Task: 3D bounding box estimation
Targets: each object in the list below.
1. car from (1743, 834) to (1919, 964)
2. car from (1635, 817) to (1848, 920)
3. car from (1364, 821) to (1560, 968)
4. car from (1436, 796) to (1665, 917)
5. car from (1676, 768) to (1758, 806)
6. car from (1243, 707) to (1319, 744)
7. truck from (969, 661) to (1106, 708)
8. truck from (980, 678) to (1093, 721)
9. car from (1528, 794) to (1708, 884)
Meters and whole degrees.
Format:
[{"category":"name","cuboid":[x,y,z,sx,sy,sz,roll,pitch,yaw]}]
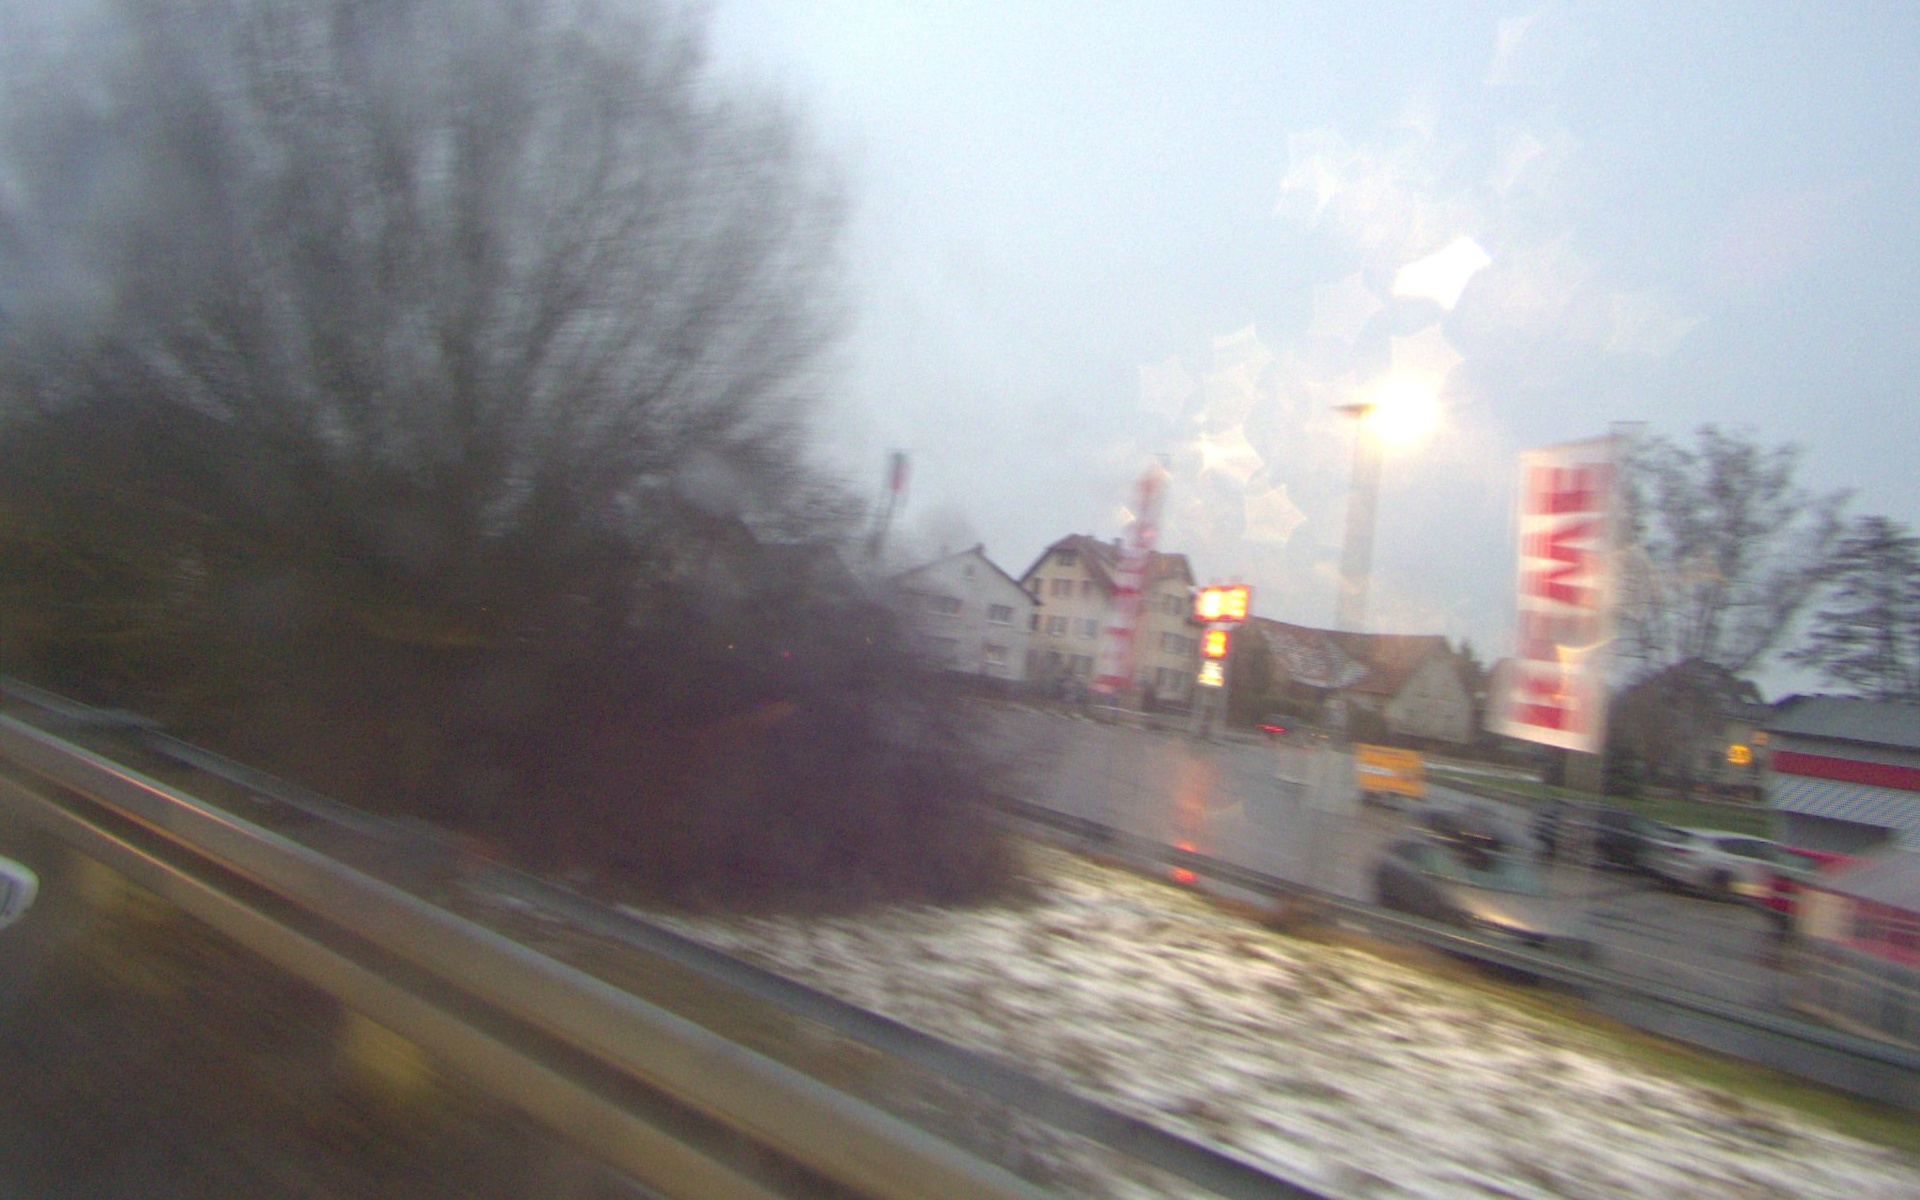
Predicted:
[{"category":"car","cuboid":[18.530,6.104,20.256,3.961,1.890,1.724,8,-1,2]},{"category":"car","cuboid":[19.392,6.641,25.093,3.766,1.626,1.625,8,-1,6]},{"category":"car","cuboid":[7.796,4.554,15.939,1.365,1.328,3.211,7,-2,0]},{"category":"car","cuboid":[13.107,5.610,22.503,1.713,1.620,3.987,9,-2,-43]},{"category":"car","cuboid":[54.151,13.384,71.953,4.781,1.967,1.996,8,-2,-14]},{"category":"car","cuboid":[19.898,7.784,62.346,3.939,1.680,1.938,8,-2,-15]},{"category":"truck","cuboid":[5.087,5.536,65.947,8.527,1.836,2.410,8,-2,-13]},{"category":"truck","cuboid":[4.177,5.435,54.934,5.701,1.564,1.938,8,-2,-15]},{"category":"car","cuboid":[18.146,6.584,27.863,3.768,1.631,1.570,8,-1,2]}]
